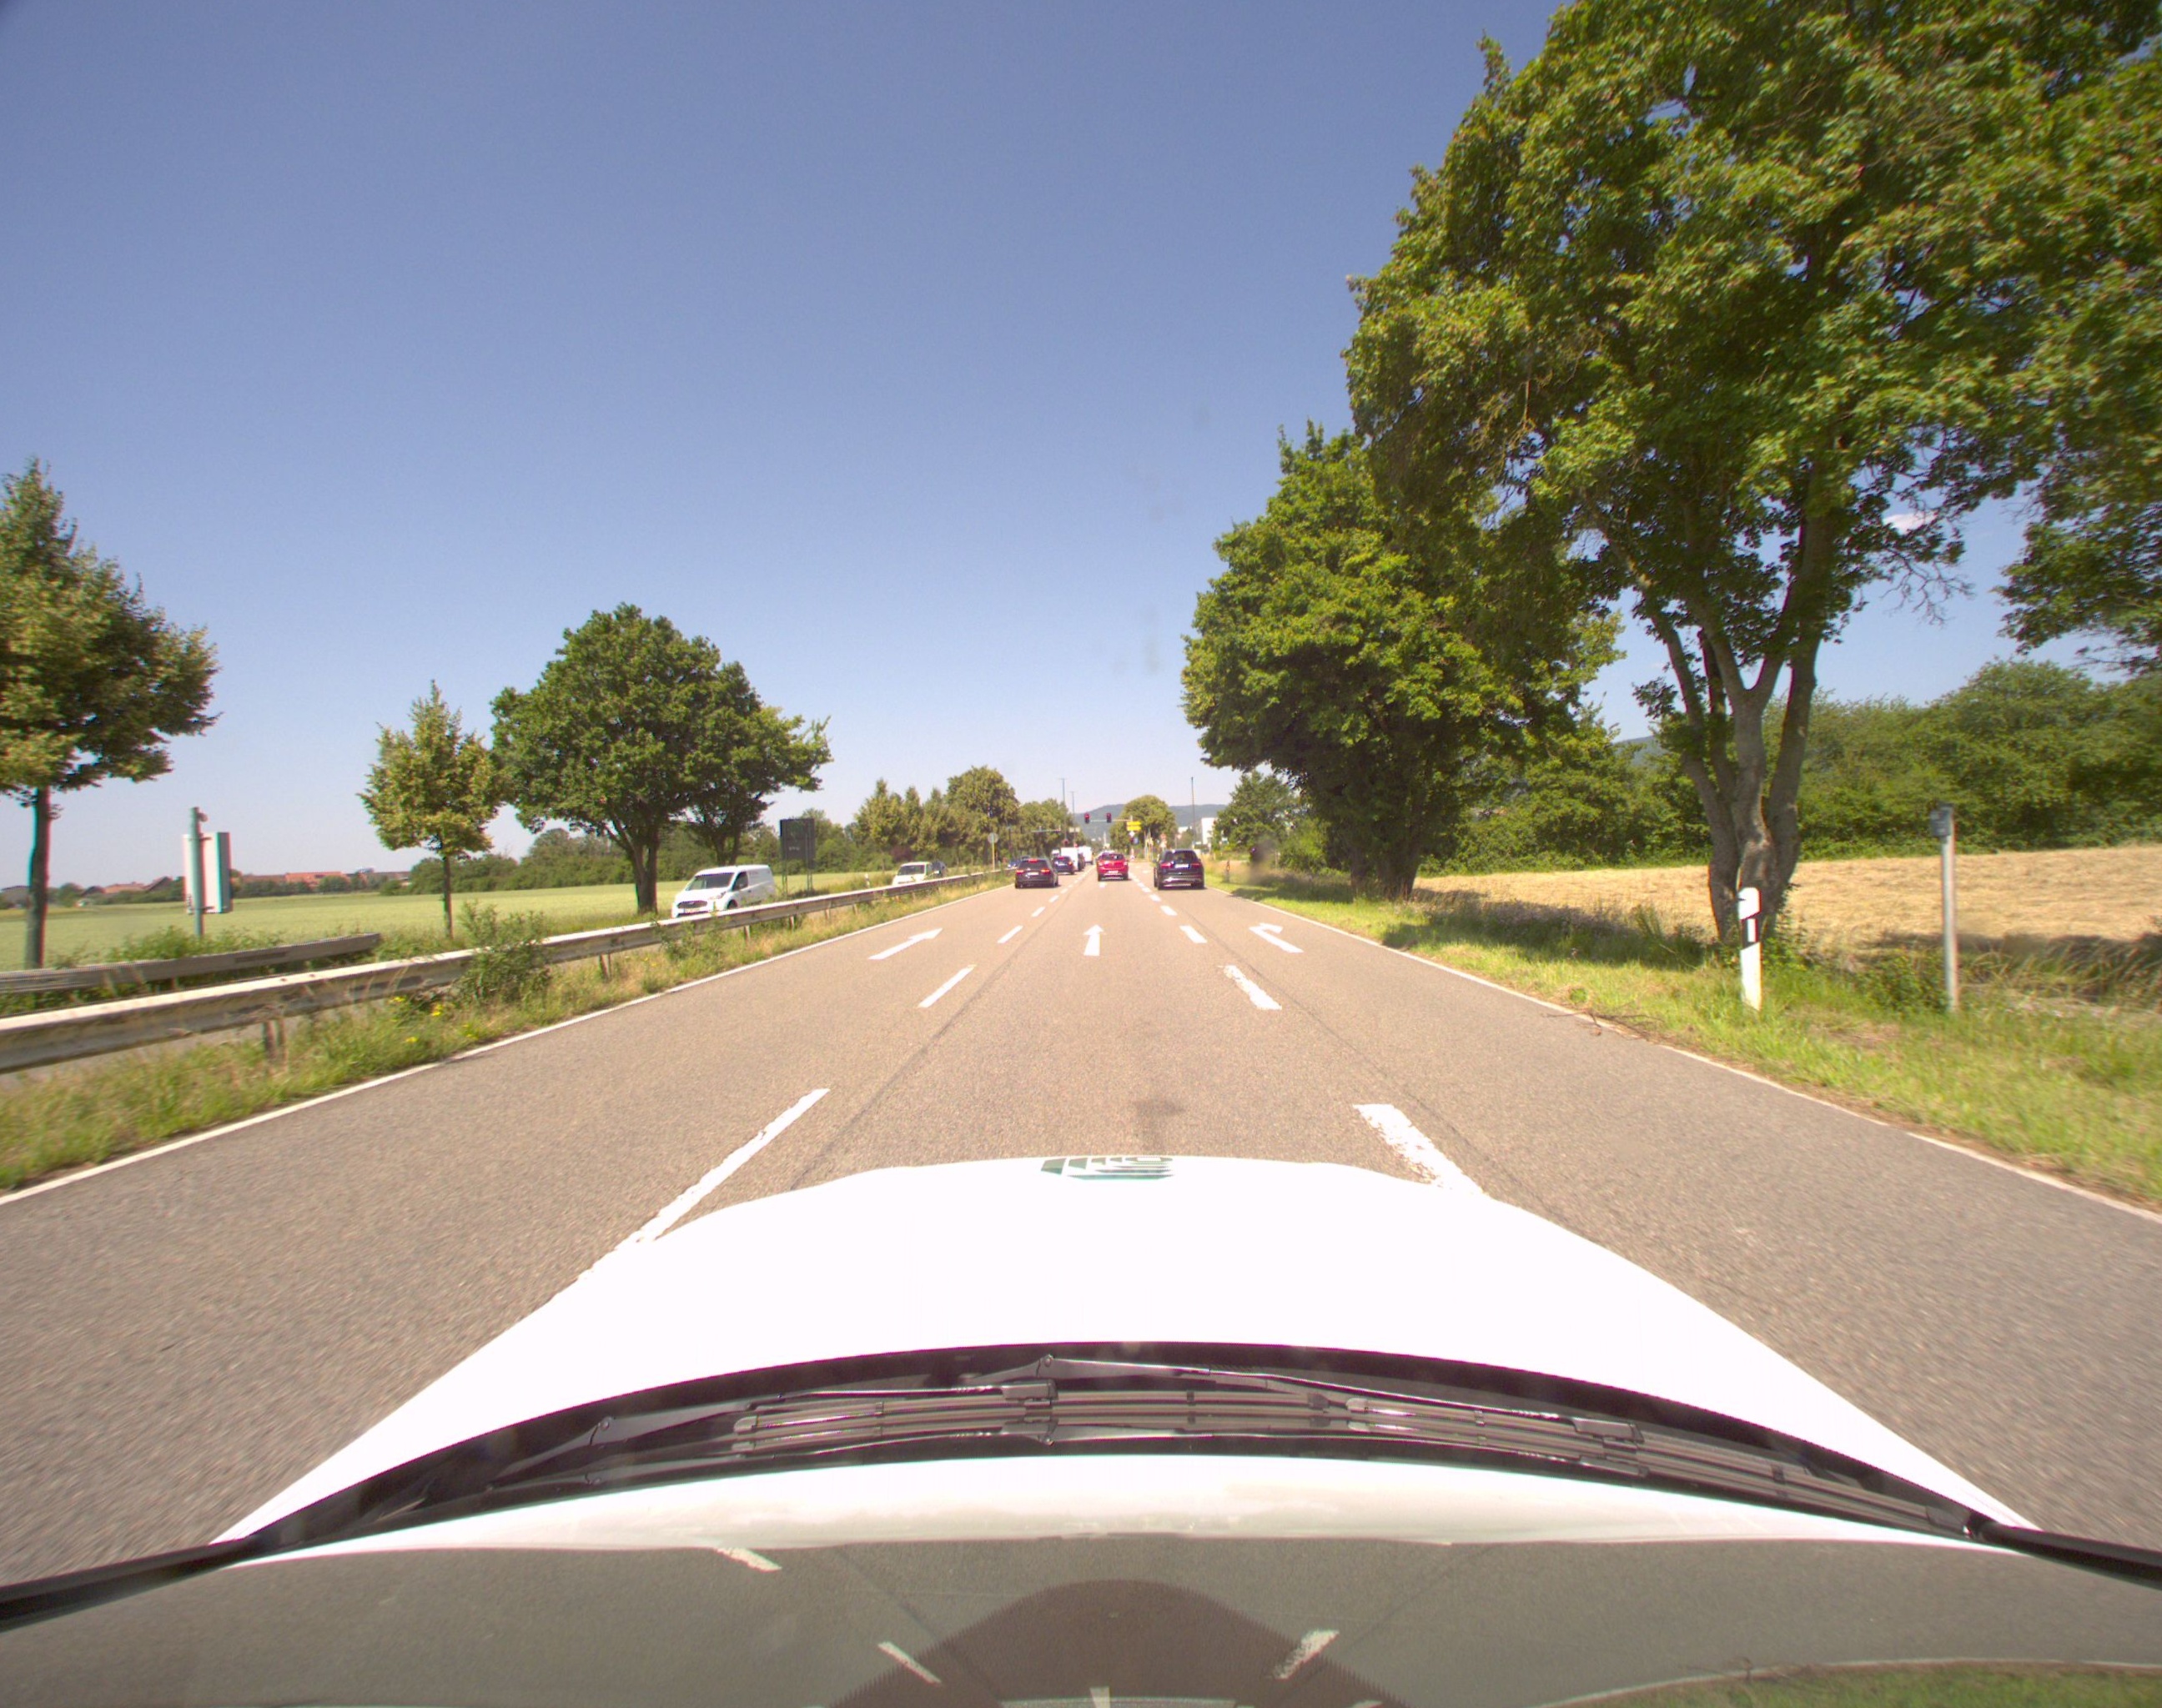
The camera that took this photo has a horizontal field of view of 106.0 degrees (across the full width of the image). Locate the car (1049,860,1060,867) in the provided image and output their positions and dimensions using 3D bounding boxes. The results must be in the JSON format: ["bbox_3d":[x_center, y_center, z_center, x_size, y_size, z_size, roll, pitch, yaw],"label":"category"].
[{"bbox_3d":[-5.699,1.970,175.192,1.872,1.454,4.506,-3,0,1],"label":"car"}]

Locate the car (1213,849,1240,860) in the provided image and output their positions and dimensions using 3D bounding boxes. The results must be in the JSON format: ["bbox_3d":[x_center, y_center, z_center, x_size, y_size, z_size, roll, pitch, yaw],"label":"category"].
[{"bbox_3d":[22.272,0.068,124.743,3.792,1.580,2.081,-3,0,13],"label":"car"}]

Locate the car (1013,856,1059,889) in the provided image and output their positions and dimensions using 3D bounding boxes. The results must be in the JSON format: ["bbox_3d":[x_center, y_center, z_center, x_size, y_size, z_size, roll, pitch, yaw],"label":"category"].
[{"bbox_3d":[-2.065,0.840,38.698,1.733,1.380,4.457,-2,0,2],"label":"car"}]

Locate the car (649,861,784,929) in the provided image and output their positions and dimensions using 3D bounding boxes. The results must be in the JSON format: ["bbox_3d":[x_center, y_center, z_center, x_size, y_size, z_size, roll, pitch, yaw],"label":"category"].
[{"bbox_3d":[-12.012,1.275,27.294,1.985,1.960,4.931,-2,0,3],"label":"car"}]

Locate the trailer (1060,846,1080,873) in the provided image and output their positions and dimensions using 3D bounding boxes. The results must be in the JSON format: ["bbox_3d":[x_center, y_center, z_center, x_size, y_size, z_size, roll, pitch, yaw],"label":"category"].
[{"bbox_3d":[-0.900,0.471,70.729,1.495,2.173,4.175,-2,0,2],"label":"trailer"}]

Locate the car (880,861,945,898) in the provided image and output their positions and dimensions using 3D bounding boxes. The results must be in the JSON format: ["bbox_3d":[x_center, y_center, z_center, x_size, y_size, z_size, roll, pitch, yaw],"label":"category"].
[{"bbox_3d":[-8.015,1.187,39.230,1.986,1.557,4.483,-2,0,2],"label":"car"}]

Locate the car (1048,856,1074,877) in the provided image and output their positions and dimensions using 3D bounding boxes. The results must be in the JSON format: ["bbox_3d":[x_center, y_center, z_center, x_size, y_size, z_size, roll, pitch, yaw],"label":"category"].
[{"bbox_3d":[-1.470,0.896,60.753,1.710,1.465,4.031,-2,0,2],"label":"car"}]

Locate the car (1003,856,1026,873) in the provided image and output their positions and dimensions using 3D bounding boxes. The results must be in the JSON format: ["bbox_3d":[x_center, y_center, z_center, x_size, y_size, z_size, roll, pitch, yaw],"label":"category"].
[{"bbox_3d":[-7.151,1.085,88.003,1.986,1.662,4.482,-3,0,1],"label":"car"}]

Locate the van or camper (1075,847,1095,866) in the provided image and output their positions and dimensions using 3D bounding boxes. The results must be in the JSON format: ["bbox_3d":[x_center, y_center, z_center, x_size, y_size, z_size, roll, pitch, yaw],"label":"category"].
[{"bbox_3d":[0.548,0.343,106.262,2.170,2.302,4.830,-3,0,3],"label":"van or camper"}]

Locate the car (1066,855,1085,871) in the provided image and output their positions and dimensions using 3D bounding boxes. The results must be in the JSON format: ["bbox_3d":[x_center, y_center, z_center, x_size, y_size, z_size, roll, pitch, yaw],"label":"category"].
[{"bbox_3d":[-0.514,0.900,81.948,1.716,1.575,3.895,-2,0,3],"label":"car"}]

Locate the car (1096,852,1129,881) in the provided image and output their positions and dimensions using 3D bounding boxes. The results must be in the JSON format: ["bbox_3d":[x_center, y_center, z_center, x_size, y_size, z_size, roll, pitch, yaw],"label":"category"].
[{"bbox_3d":[1.794,0.672,45.975,1.742,1.575,3.680,-1,0,3],"label":"car"}]

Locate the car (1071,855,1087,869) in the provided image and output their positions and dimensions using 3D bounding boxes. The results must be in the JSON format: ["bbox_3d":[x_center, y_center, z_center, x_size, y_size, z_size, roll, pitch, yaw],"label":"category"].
[{"bbox_3d":[-0.226,0.911,95.761,1.717,1.600,3.958,-2,0,2],"label":"car"}]

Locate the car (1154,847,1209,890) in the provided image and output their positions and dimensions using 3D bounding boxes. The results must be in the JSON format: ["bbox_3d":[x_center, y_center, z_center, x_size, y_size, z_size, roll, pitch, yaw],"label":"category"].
[{"bbox_3d":[4.097,0.570,33.912,1.985,1.616,4.343,-1,0,3],"label":"car"}]

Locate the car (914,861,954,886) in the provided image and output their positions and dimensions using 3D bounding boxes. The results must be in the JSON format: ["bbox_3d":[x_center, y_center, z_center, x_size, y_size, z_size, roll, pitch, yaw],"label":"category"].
[{"bbox_3d":[-10.807,1.404,60.349,1.986,1.662,4.482,-2,0,1],"label":"car"}]

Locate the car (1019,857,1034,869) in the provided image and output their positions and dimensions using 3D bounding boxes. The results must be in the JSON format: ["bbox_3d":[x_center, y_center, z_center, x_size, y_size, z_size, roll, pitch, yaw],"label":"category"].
[{"bbox_3d":[-9.282,1.534,139.616,1.986,1.951,4.831,-3,0,1],"label":"car"}]
